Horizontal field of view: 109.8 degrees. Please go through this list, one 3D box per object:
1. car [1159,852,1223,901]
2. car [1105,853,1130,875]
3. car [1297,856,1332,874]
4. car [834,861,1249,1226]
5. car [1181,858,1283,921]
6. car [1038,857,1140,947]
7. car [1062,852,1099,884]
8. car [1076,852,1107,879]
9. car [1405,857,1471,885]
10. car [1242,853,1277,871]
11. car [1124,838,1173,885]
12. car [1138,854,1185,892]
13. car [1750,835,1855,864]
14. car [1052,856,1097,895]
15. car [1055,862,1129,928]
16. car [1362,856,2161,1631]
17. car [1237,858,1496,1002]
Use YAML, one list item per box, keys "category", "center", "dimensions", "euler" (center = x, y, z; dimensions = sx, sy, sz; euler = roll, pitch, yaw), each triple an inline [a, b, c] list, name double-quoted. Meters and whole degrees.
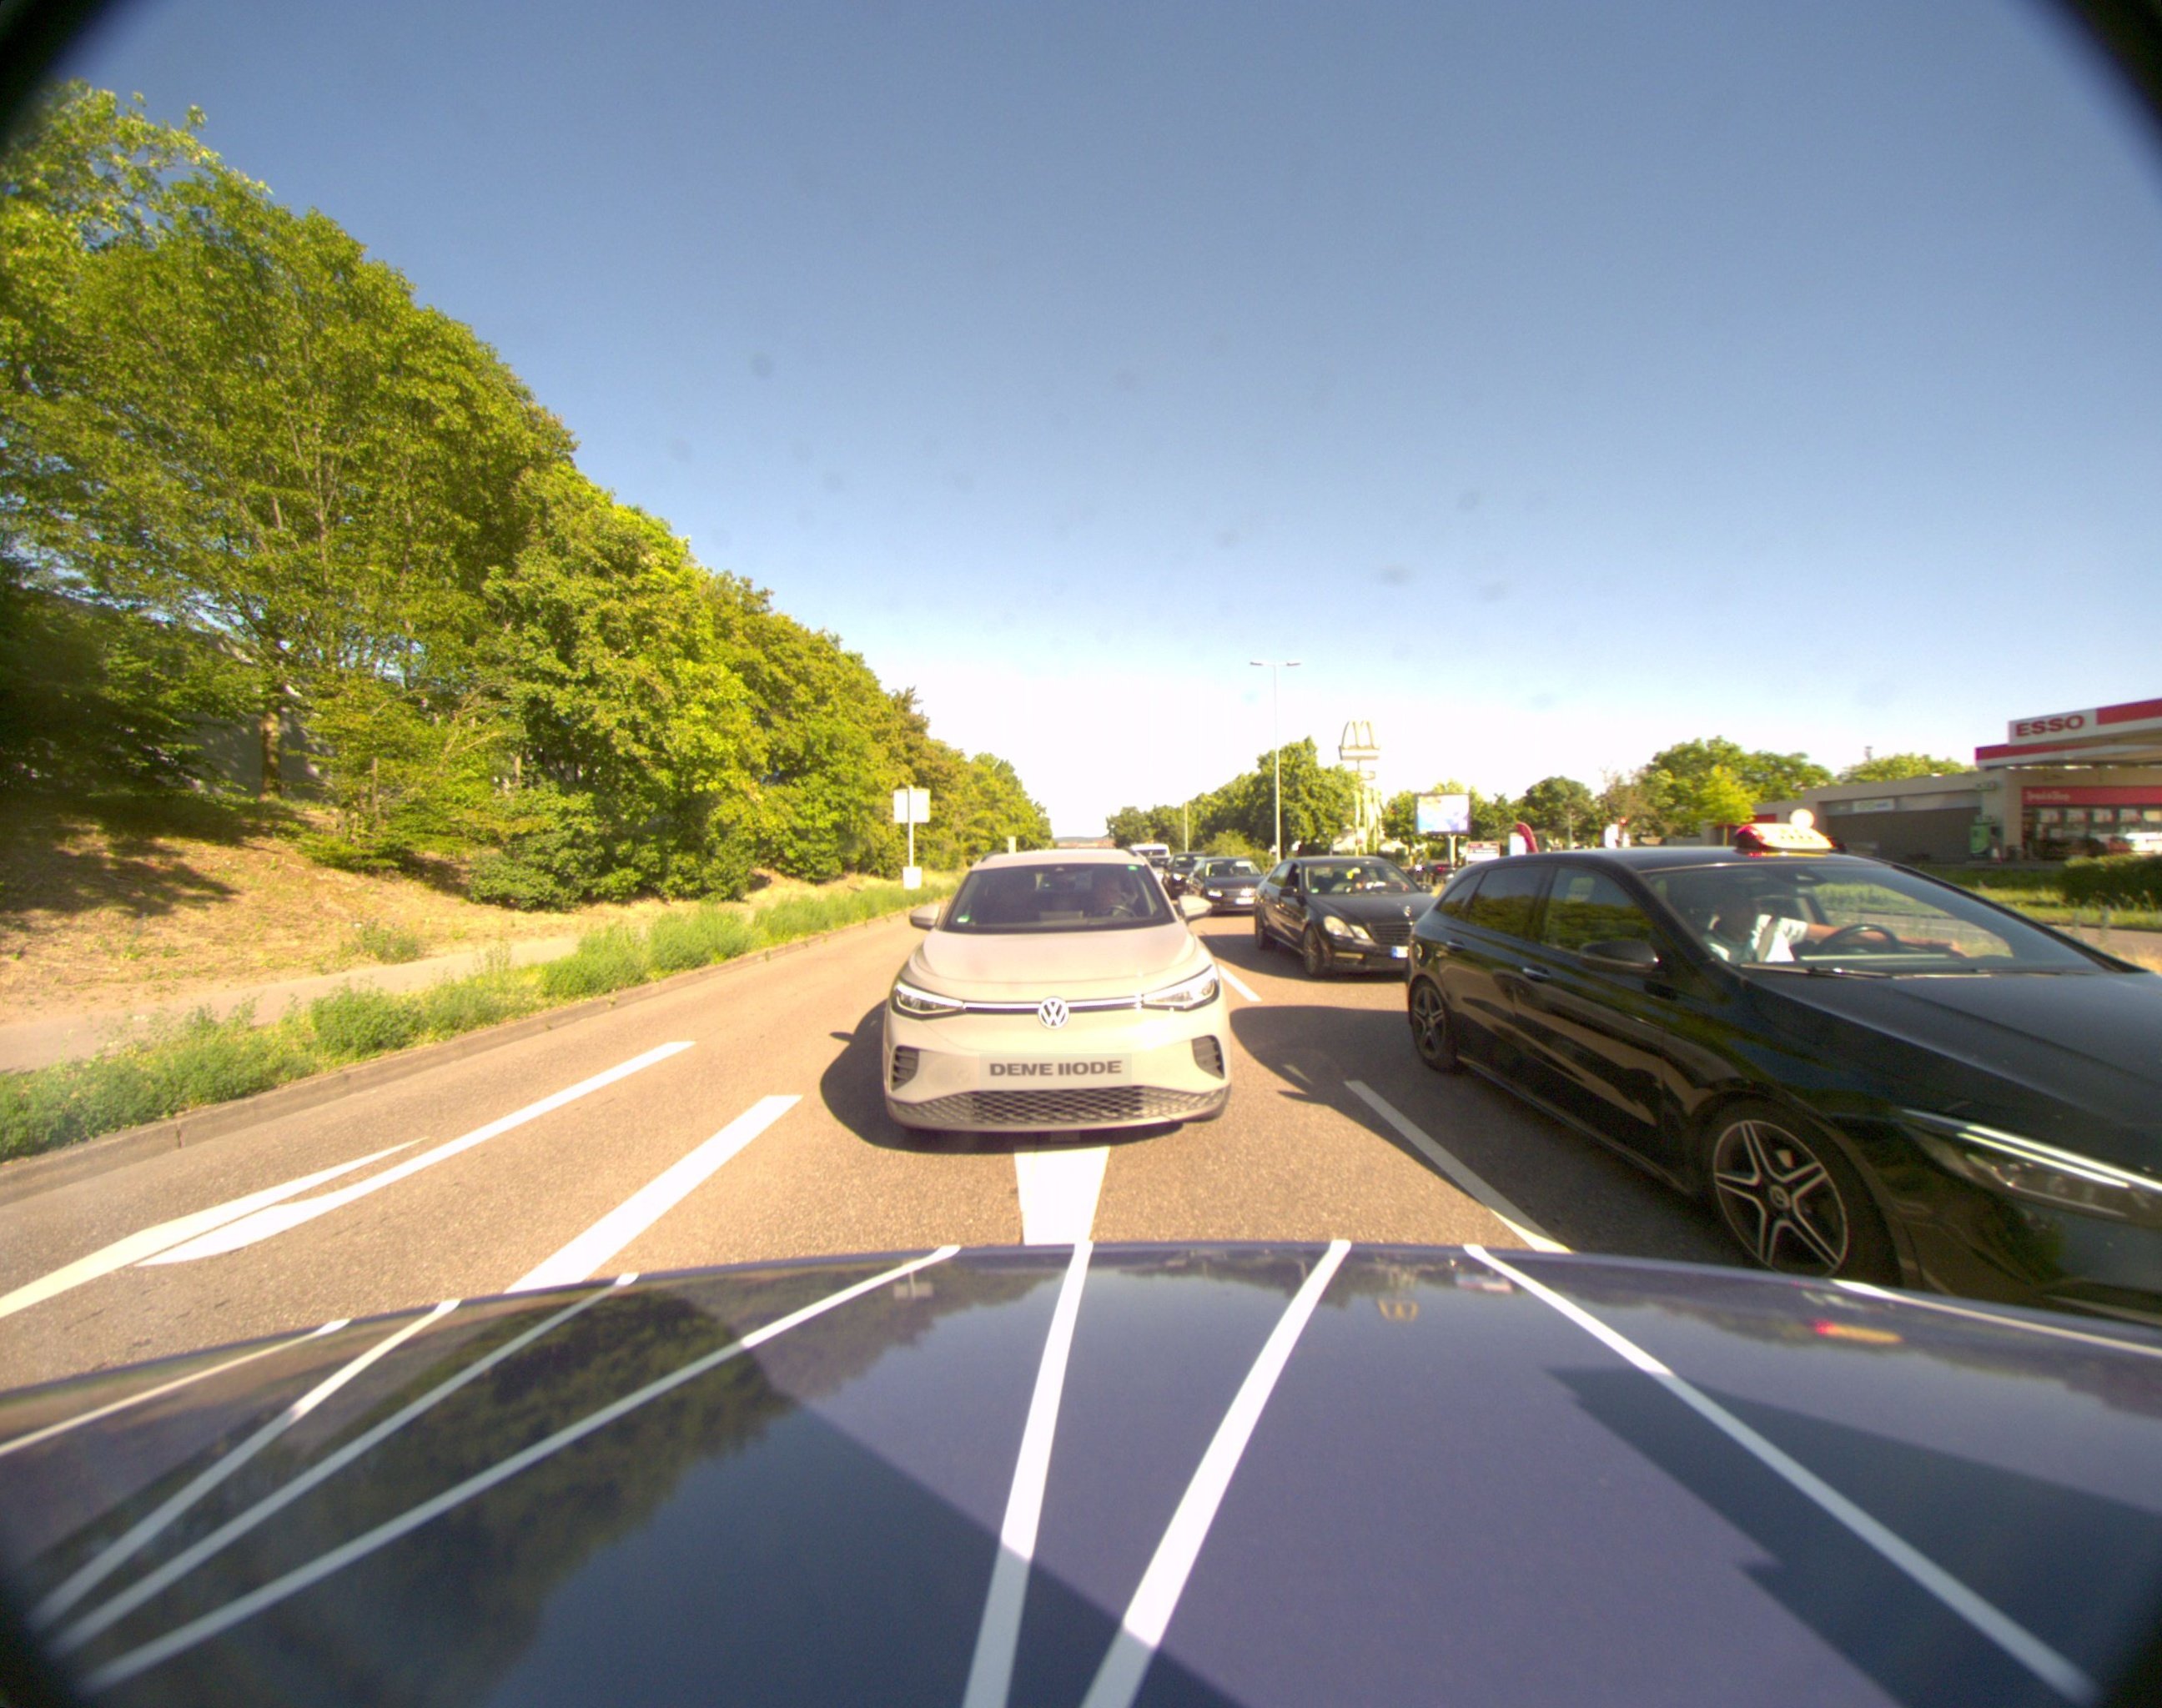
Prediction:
- category: "car"
  center: [3.899, 0.753, 27.492]
  dimensions: [1.674, 1.607, 3.879]
  euler: [-2, 0, 0]
- category: "car"
  center: [2.925, 0.811, 62.132]
  dimensions: [1.763, 1.607, 4.402]
  euler: [-2, 1, 0]
- category: "car"
  center: [20.173, 0.924, 65.878]
  dimensions: [1.763, 1.401, 3.978]
  euler: [1, 1, 0]
- category: "car"
  center: [-0.187, 0.896, 5.719]
  dimensions: [1.862, 1.573, 4.403]
  euler: [-2, 0, 0]
- category: "car"
  center: [3.867, 0.857, 20.233]
  dimensions: [1.797, 1.419, 4.287]
  euler: [-2, 0, 0]
- category: "car"
  center: [0.129, 0.869, 15.776]
  dimensions: [1.763, 1.482, 4.402]
  euler: [-2, 1, 0]
- category: "car"
  center: [-0.049, 0.709, 39.872]
  dimensions: [1.763, 1.482, 4.402]
  euler: [-2, 1, 0]
- category: "car"
  center: [0.597, 0.686, 47.039]
  dimensions: [1.763, 1.482, 4.402]
  euler: [-2, 1, 0]
- category: "car"
  center: [19.706, 0.904, 42.117]
  dimensions: [1.763, 1.401, 3.978]
  euler: [1, 1, 0]
- category: "car"
  center: [16.250, 0.730, 69.228]
  dimensions: [1.764, 1.482, 4.878]
  euler: [2, 1, -3]
- category: "car"
  center: [3.646, 0.381, 42.055]
  dimensions: [2.019, 2.349, 6.523]
  euler: [-2, 0, 0]
- category: "car"
  center: [3.567, 0.787, 34.182]
  dimensions: [1.635, 1.547, 3.777]
  euler: [-2, 0, 0]
- category: "car"
  center: [37.649, -0.250, 39.798]
  dimensions: [1.682, 1.401, 3.978]
  euler: [1, 1, 0]
- category: "car"
  center: [-0.263, 0.877, 33.050]
  dimensions: [1.763, 1.482, 4.402]
  euler: [-2, 1, 0]
- category: "car"
  center: [0.259, 1.035, 20.944]
  dimensions: [1.763, 1.482, 4.402]
  euler: [-2, 1, 0]
- category: "car"
  center: [3.085, 0.815, 3.670]
  dimensions: [1.763, 1.482, 4.402]
  euler: [-2, 1, 0]
- category: "car"
  center: [3.583, 0.848, 10.517]
  dimensions: [1.868, 1.430, 4.402]
  euler: [-2, 1, 0]
